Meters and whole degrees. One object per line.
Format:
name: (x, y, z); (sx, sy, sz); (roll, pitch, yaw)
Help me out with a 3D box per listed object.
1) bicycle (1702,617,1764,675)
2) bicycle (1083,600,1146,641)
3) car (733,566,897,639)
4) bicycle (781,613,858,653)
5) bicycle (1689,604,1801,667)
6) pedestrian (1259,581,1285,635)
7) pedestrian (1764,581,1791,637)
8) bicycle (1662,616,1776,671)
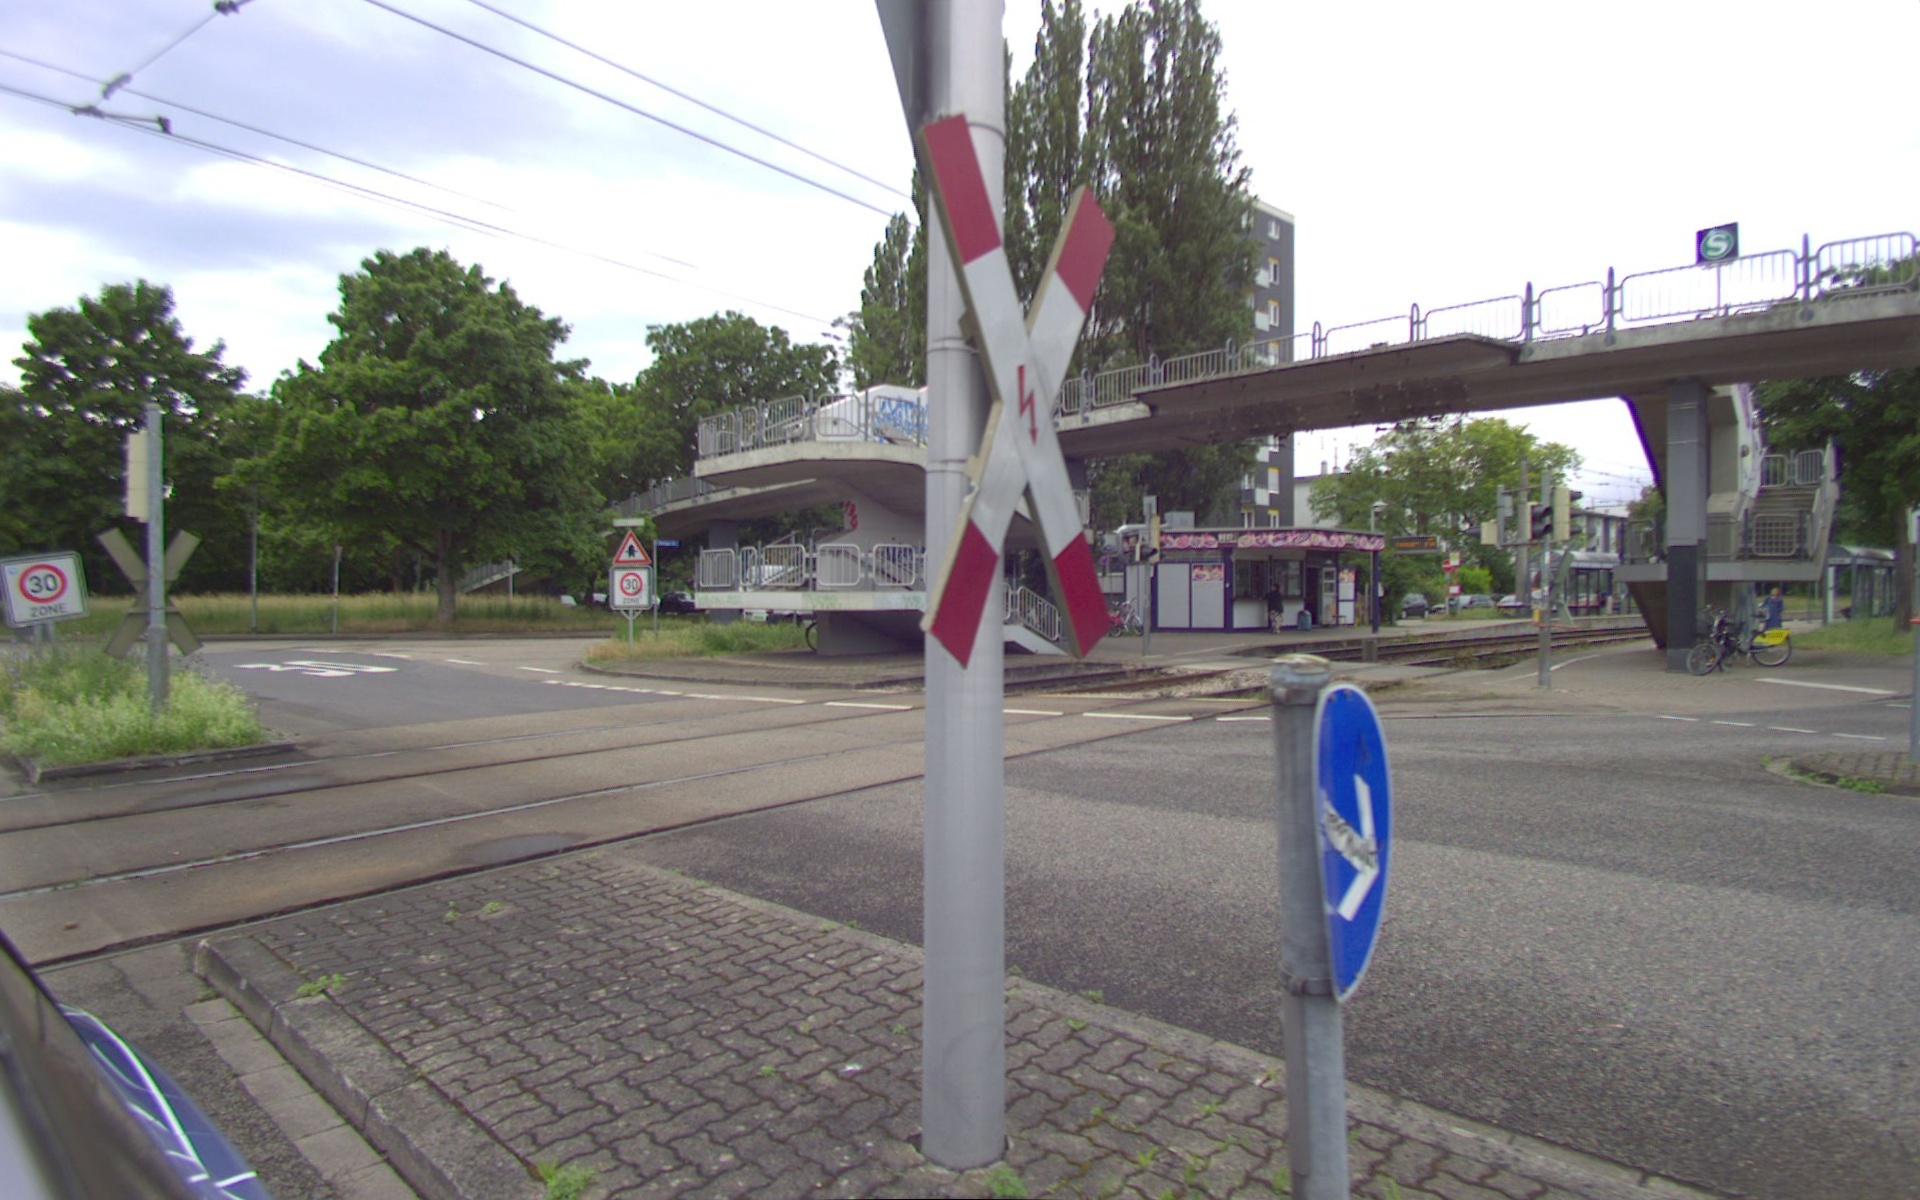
bicycle: (13.429, 0.770, 17.569); (2.005, 0.928, 0.375); (0, 0, -39)
bicycle: (4.614, 0.584, 30.108); (0.988, 1.123, 2.762); (0, 0, 29)
car: (-4.851, 0.052, 34.284); (5.123, 2.309, 2.146); (0, 1, -37)
bicycle: (-3.227, 0.747, 23.270); (1.712, 0.892, 0.396); (0, 1, -26)
bicycle: (14.460, 0.648, 18.676); (1.600, 1.103, 0.349); (1, 1, 15)
pedestrian: (9.790, 0.237, 31.765); (0.676, 1.677, 0.543); (0, 0, -44)
pedestrian: (23.397, 0.254, 28.972); (0.560, 1.576, 0.330); (1, 1, 41)
bicycle: (13.243, 0.733, 17.635); (2.365, 0.895, 0.560); (0, 1, -26)
